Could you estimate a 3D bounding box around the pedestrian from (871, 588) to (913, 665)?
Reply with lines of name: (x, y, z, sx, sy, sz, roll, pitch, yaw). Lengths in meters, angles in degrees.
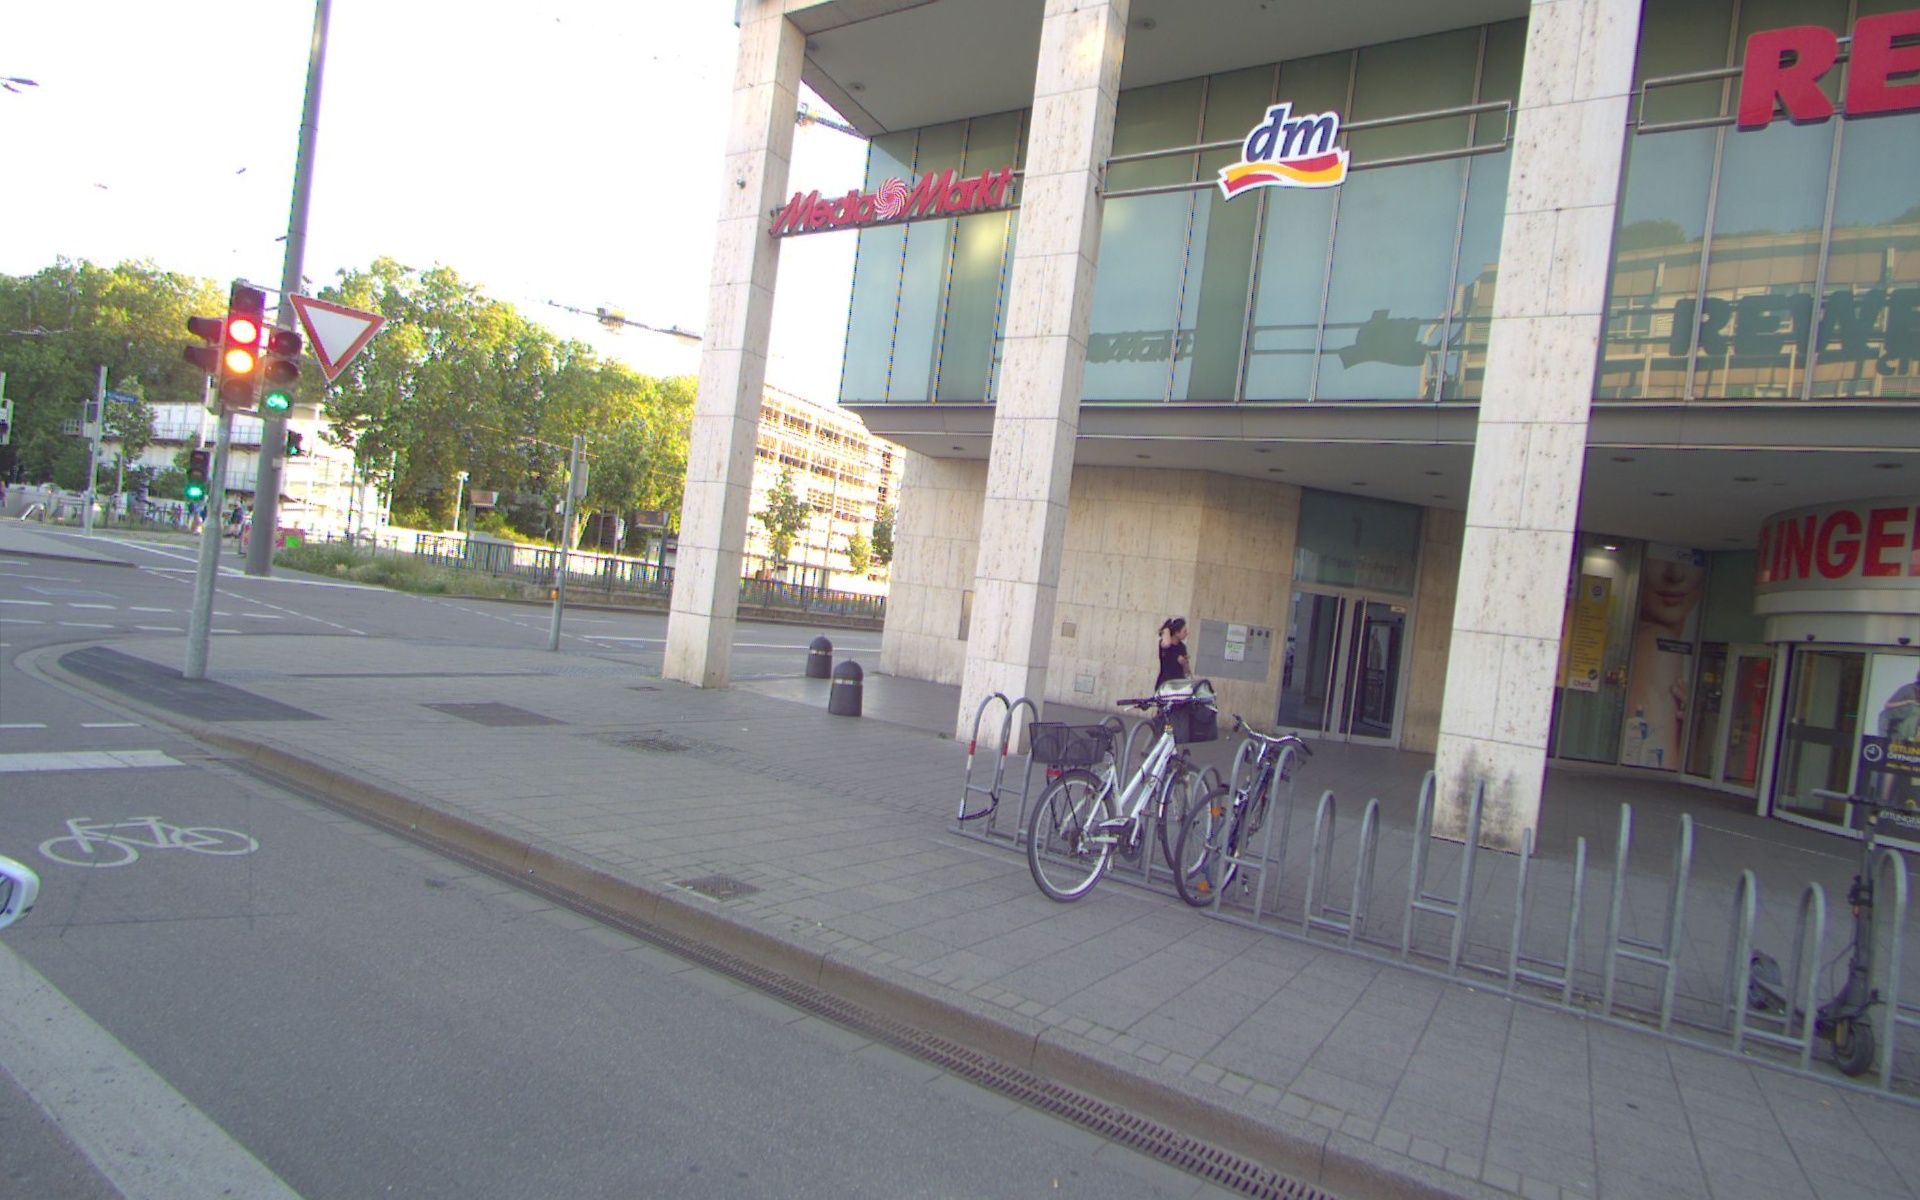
pedestrian: (-1.607, 0.642, 23.909, 0.579, 1.746, 0.668, 7, 1, 20)

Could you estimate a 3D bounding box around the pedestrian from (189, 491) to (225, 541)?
pedestrian: (-28.276, -3.154, 37.783, 0.700, 1.746, 0.668, 7, 1, -4)

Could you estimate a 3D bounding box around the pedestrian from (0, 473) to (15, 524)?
pedestrian: (-34.606, -3.694, 36.115, 0.696, 1.756, 0.843, 8, 1, 44)

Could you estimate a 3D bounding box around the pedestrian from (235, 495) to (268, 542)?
pedestrian: (-28.554, -3.282, 40.547, 0.657, 1.746, 0.712, 8, 1, 30)

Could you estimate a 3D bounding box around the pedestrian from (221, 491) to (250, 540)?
pedestrian: (-27.632, -3.221, 38.371, 0.708, 1.746, 0.660, 7, 1, -41)

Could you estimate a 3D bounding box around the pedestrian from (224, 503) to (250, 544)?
pedestrian: (-28.054, -2.972, 39.047, 0.672, 1.459, 0.707, 7, 1, -36)

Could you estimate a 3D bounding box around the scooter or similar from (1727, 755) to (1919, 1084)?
scooter or similar: (4.181, 1.431, 4.796, 0.484, 1.214, 1.196, 8, 1, 27)

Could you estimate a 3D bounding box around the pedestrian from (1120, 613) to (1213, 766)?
pedestrian: (2.444, 1.035, 11.864, 0.695, 1.659, 0.792, 7, 1, 27)

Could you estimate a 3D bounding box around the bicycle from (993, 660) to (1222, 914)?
bicycle: (0.893, 1.001, 5.763, 0.540, 1.198, 1.479, 8, 1, 36)

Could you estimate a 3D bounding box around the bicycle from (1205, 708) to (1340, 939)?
bicycle: (1.996, 1.292, 6.270, 0.474, 1.092, 1.773, 8, 0, 24)

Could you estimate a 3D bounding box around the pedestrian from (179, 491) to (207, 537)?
pedestrian: (-29.225, -3.273, 38.323, 0.527, 1.612, 0.571, 8, 1, 32)
